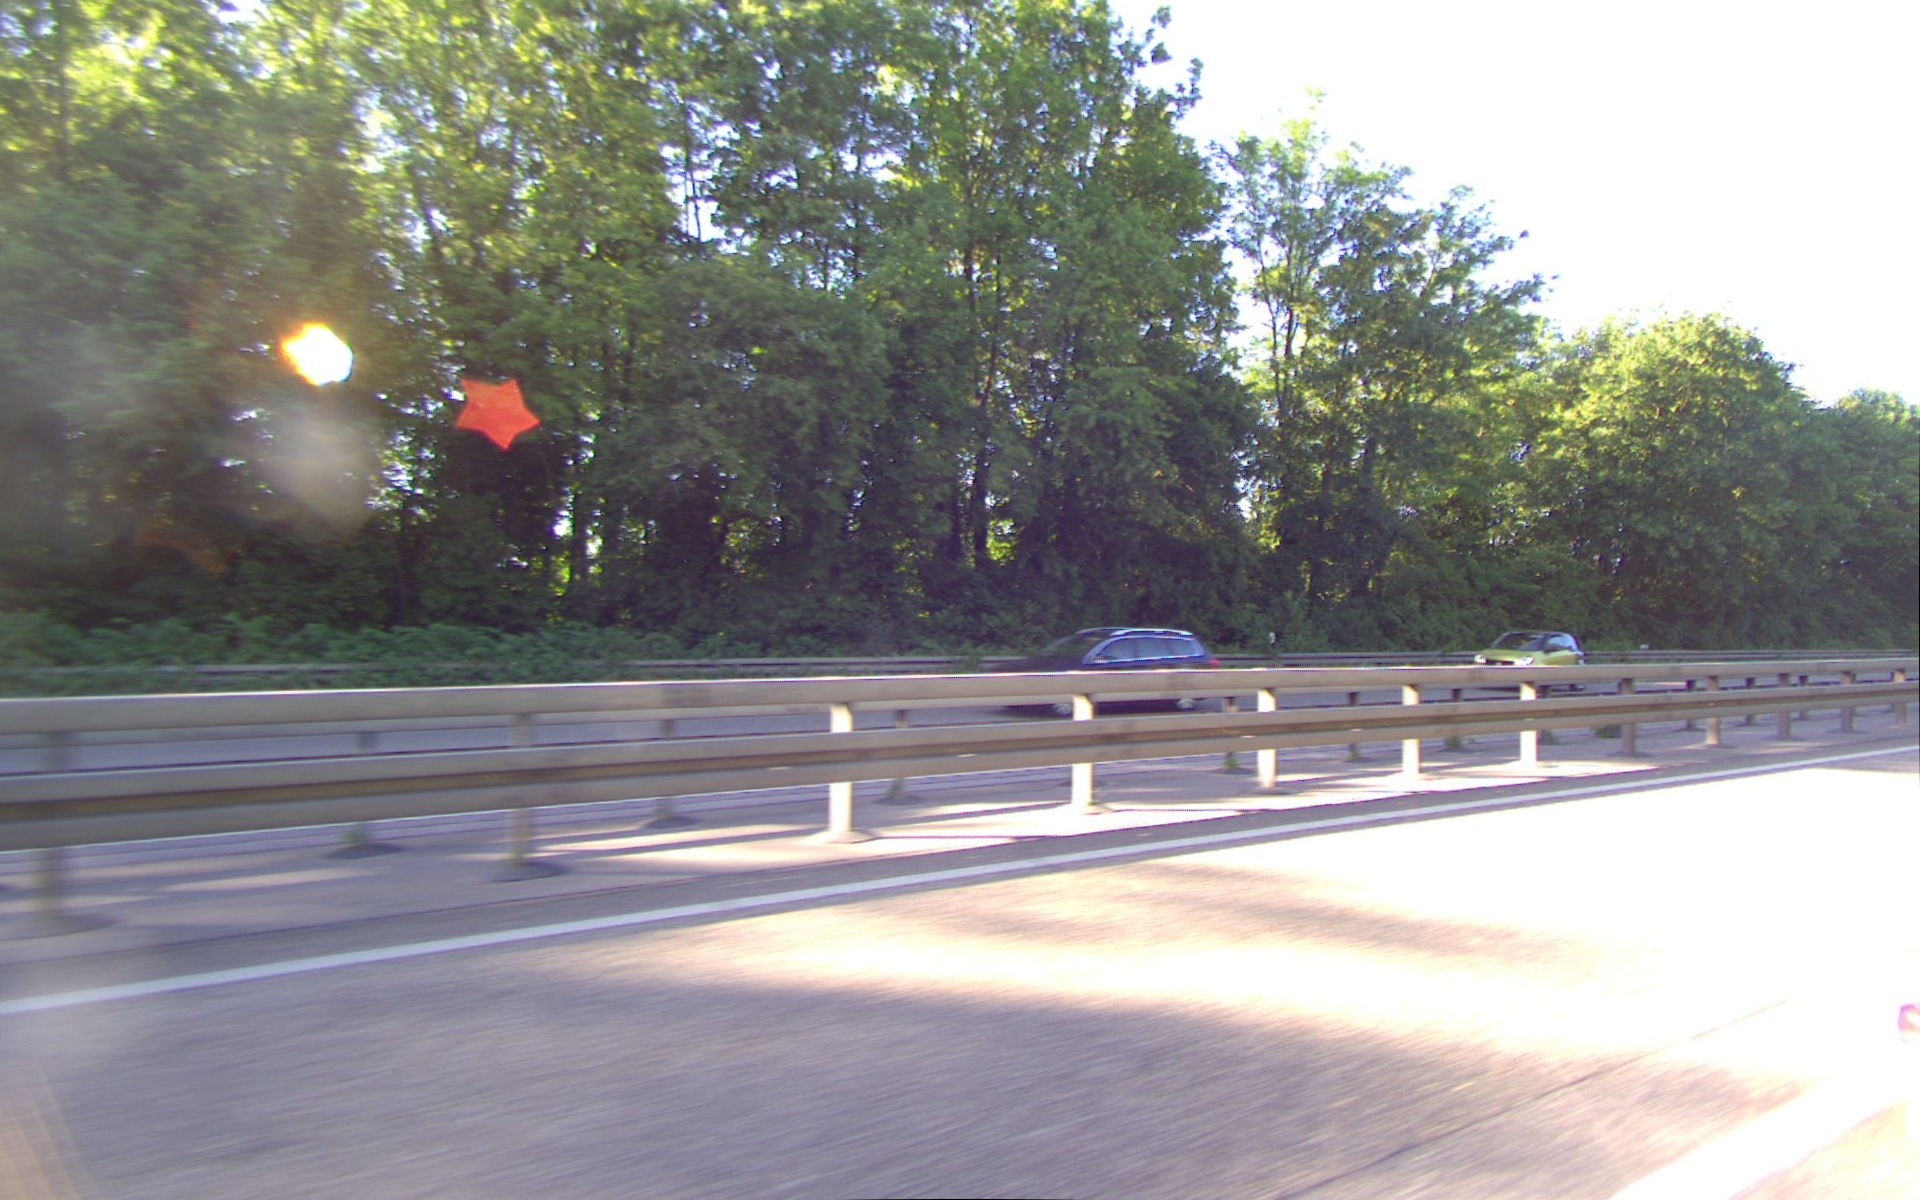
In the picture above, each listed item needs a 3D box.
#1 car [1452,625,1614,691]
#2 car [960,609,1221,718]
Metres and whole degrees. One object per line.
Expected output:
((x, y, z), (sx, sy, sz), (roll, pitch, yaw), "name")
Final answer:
((14.961, 1.490, 26.193), (3.954, 1.605, 1.984), (1, -3, -31), "car")
((2.426, 1.112, 18.390), (4.498, 1.772, 1.984), (1, -3, -31), "car")
